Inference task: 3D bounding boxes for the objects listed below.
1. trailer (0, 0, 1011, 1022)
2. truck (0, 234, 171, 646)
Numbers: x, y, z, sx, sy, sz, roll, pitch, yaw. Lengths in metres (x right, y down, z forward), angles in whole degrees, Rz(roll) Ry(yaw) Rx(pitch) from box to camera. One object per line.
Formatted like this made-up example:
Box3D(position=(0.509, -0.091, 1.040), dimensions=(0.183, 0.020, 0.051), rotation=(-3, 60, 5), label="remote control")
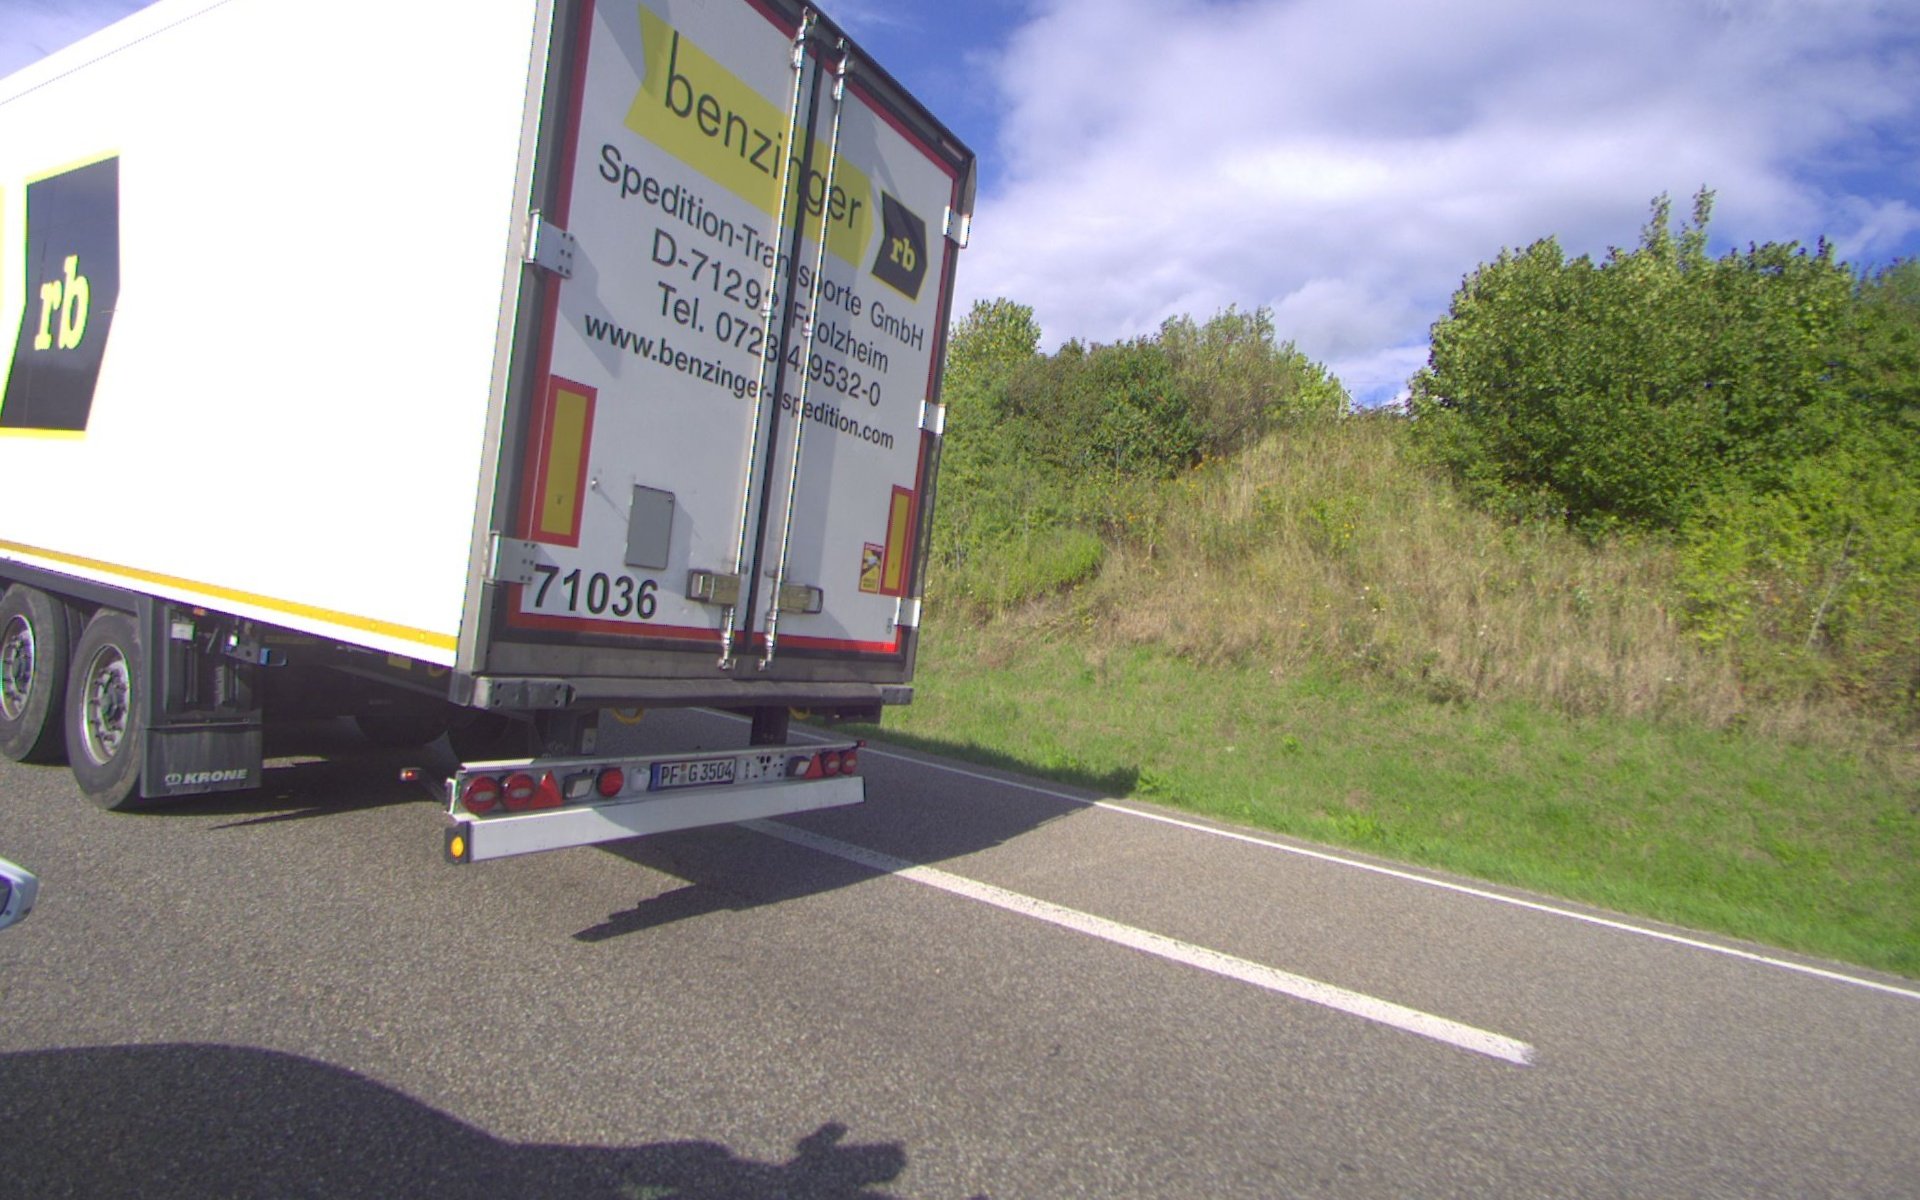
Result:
Box3D(position=(-6.098, -1.187, 7.636), dimensions=(12.854, 3.985, 2.796), rotation=(6, -1, 32), label="trailer")
Box3D(position=(-12.051, -1.882, 11.373), dimensions=(5.729, 3.985, 2.807), rotation=(7, -1, 32), label="truck")
